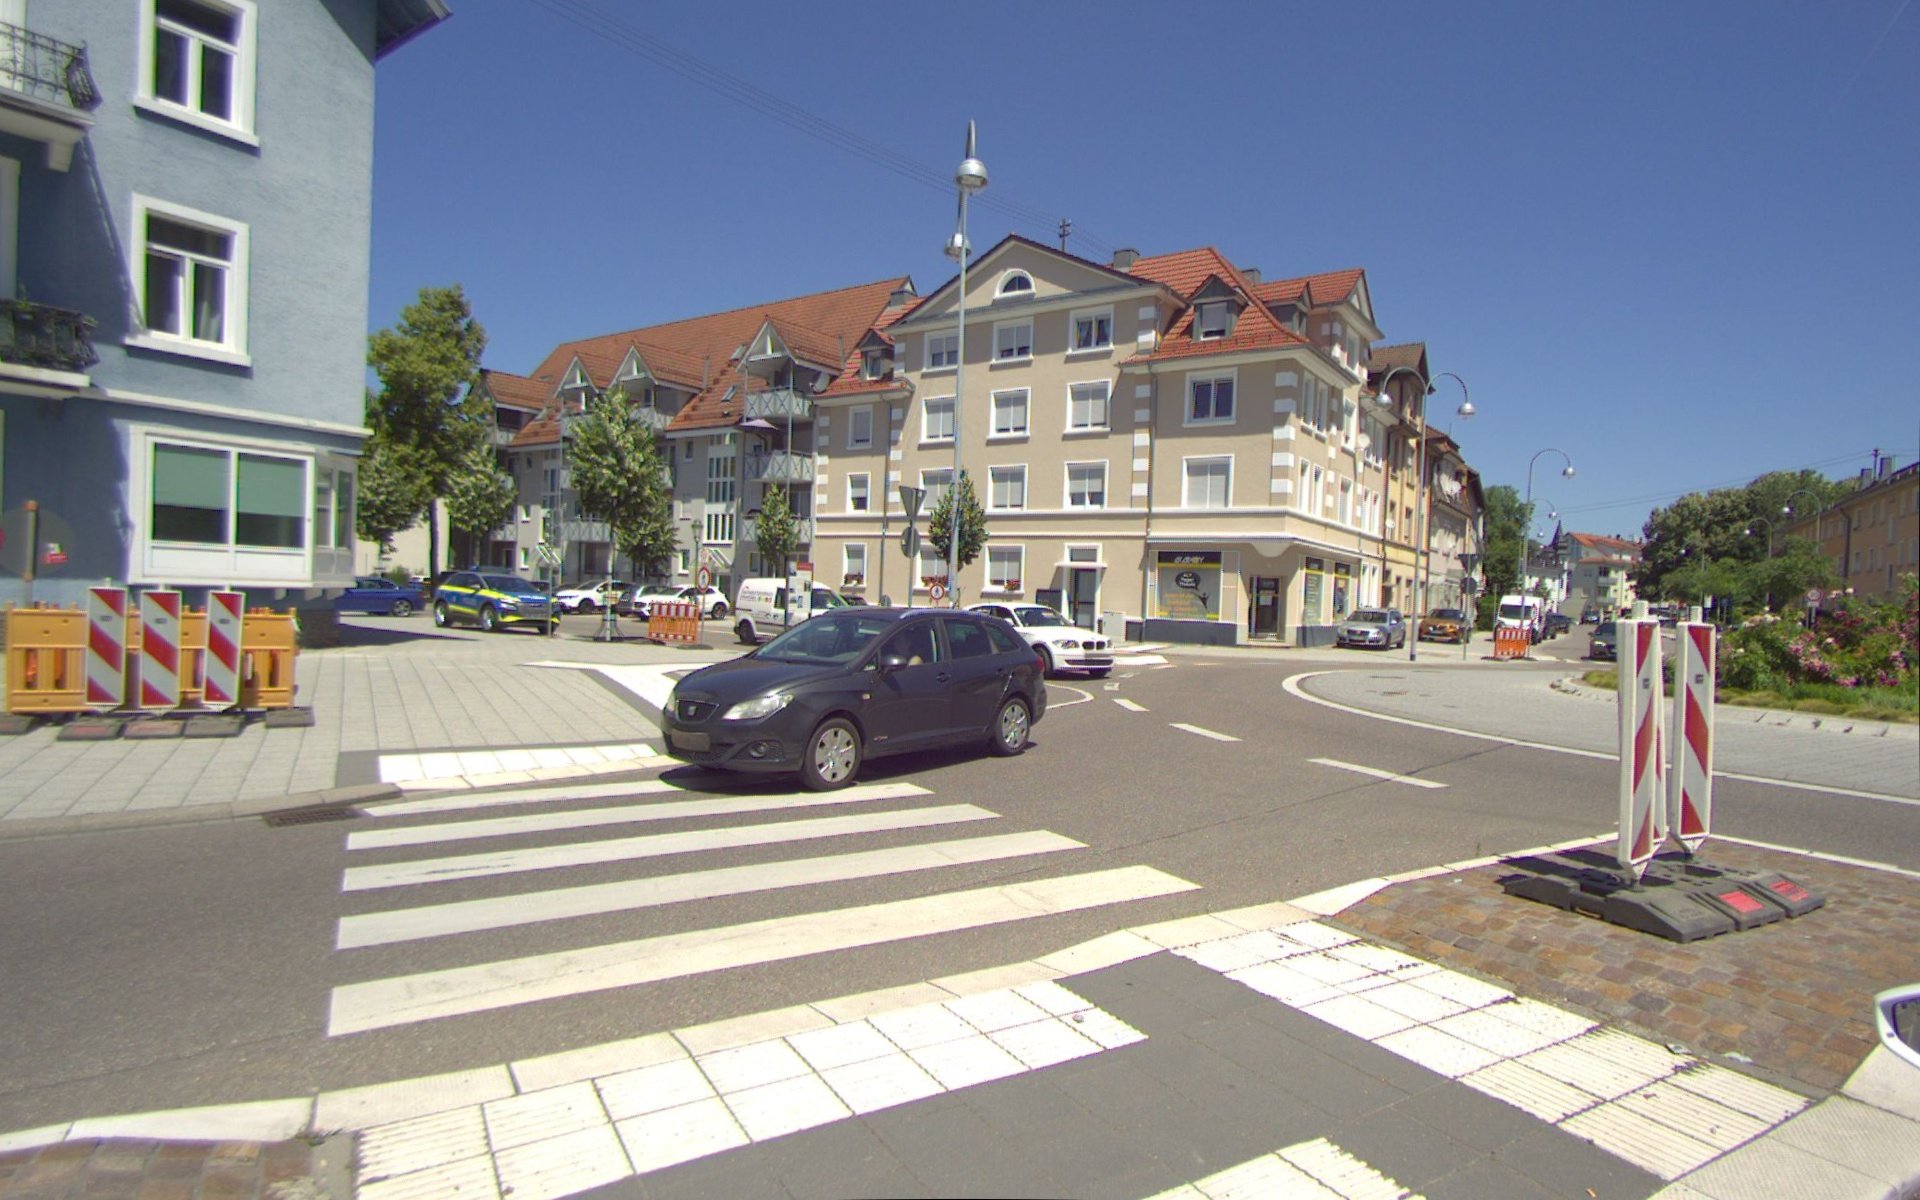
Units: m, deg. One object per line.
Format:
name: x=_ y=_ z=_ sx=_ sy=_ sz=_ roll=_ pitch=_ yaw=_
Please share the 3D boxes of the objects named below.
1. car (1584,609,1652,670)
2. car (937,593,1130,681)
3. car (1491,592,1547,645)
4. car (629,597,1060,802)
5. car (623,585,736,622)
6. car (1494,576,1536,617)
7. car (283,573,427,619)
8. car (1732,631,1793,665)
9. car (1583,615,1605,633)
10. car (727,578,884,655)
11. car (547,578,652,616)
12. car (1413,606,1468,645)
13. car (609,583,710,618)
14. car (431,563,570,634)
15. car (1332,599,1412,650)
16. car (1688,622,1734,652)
car: x=25.124 y=1.459 z=38.357 sx=1.966 sy=2.040 sz=3.989 roll=4 pitch=1 yaw=34
car: x=1.413 y=0.686 z=20.793 sx=1.770 sy=1.572 sz=4.087 roll=1 pitch=0 yaw=-35
car: x=30.148 y=1.008 z=54.037 sx=2.114 sy=2.566 sz=6.222 roll=5 pitch=1 yaw=32
car: x=-0.837 y=0.744 z=9.289 sx=1.639 sy=1.471 sz=4.007 roll=0 pitch=-1 yaw=38
car: x=-12.083 y=0.175 z=43.495 sx=1.951 sy=1.512 sz=4.393 roll=1 pitch=0 yaw=37
car: x=38.166 y=-0.220 z=68.996 sx=2.114 sy=2.566 sz=4.843 roll=5 pitch=1 yaw=32
car: x=-21.310 y=-0.113 z=35.502 sx=1.635 sy=1.377 sz=4.016 roll=6 pitch=3 yaw=37
car: x=41.669 y=2.471 z=52.249 sx=1.786 sy=1.520 sz=3.993 roll=4 pitch=1 yaw=29
car: x=71.852 y=2.731 z=113.899 sx=1.786 sy=1.817 sz=3.993 roll=4 pitch=1 yaw=29
car: x=-4.141 y=0.381 z=26.532 sx=4.180 sy=1.801 sz=1.772 roll=3 pitch=1 yaw=41
car: x=-17.209 y=-0.118 z=48.102 sx=1.951 sy=1.692 sz=4.356 roll=1 pitch=0 yaw=37
car: x=22.496 y=1.181 z=46.958 sx=1.577 sy=1.638 sz=4.078 roll=5 pitch=2 yaw=35
car: x=-13.708 y=0.047 z=46.017 sx=1.951 sy=1.512 sz=4.067 roll=1 pitch=0 yaw=37
car: x=-12.840 y=-0.073 z=27.964 sx=4.176 sy=1.801 sz=1.774 roll=3 pitch=1 yaw=38
car: x=15.357 y=0.898 z=37.280 sx=1.752 sy=1.708 sz=4.680 roll=3 pitch=0 yaw=35
car: x=49.713 y=2.412 z=66.570 sx=1.786 sy=1.817 sz=3.993 roll=4 pitch=1 yaw=29
